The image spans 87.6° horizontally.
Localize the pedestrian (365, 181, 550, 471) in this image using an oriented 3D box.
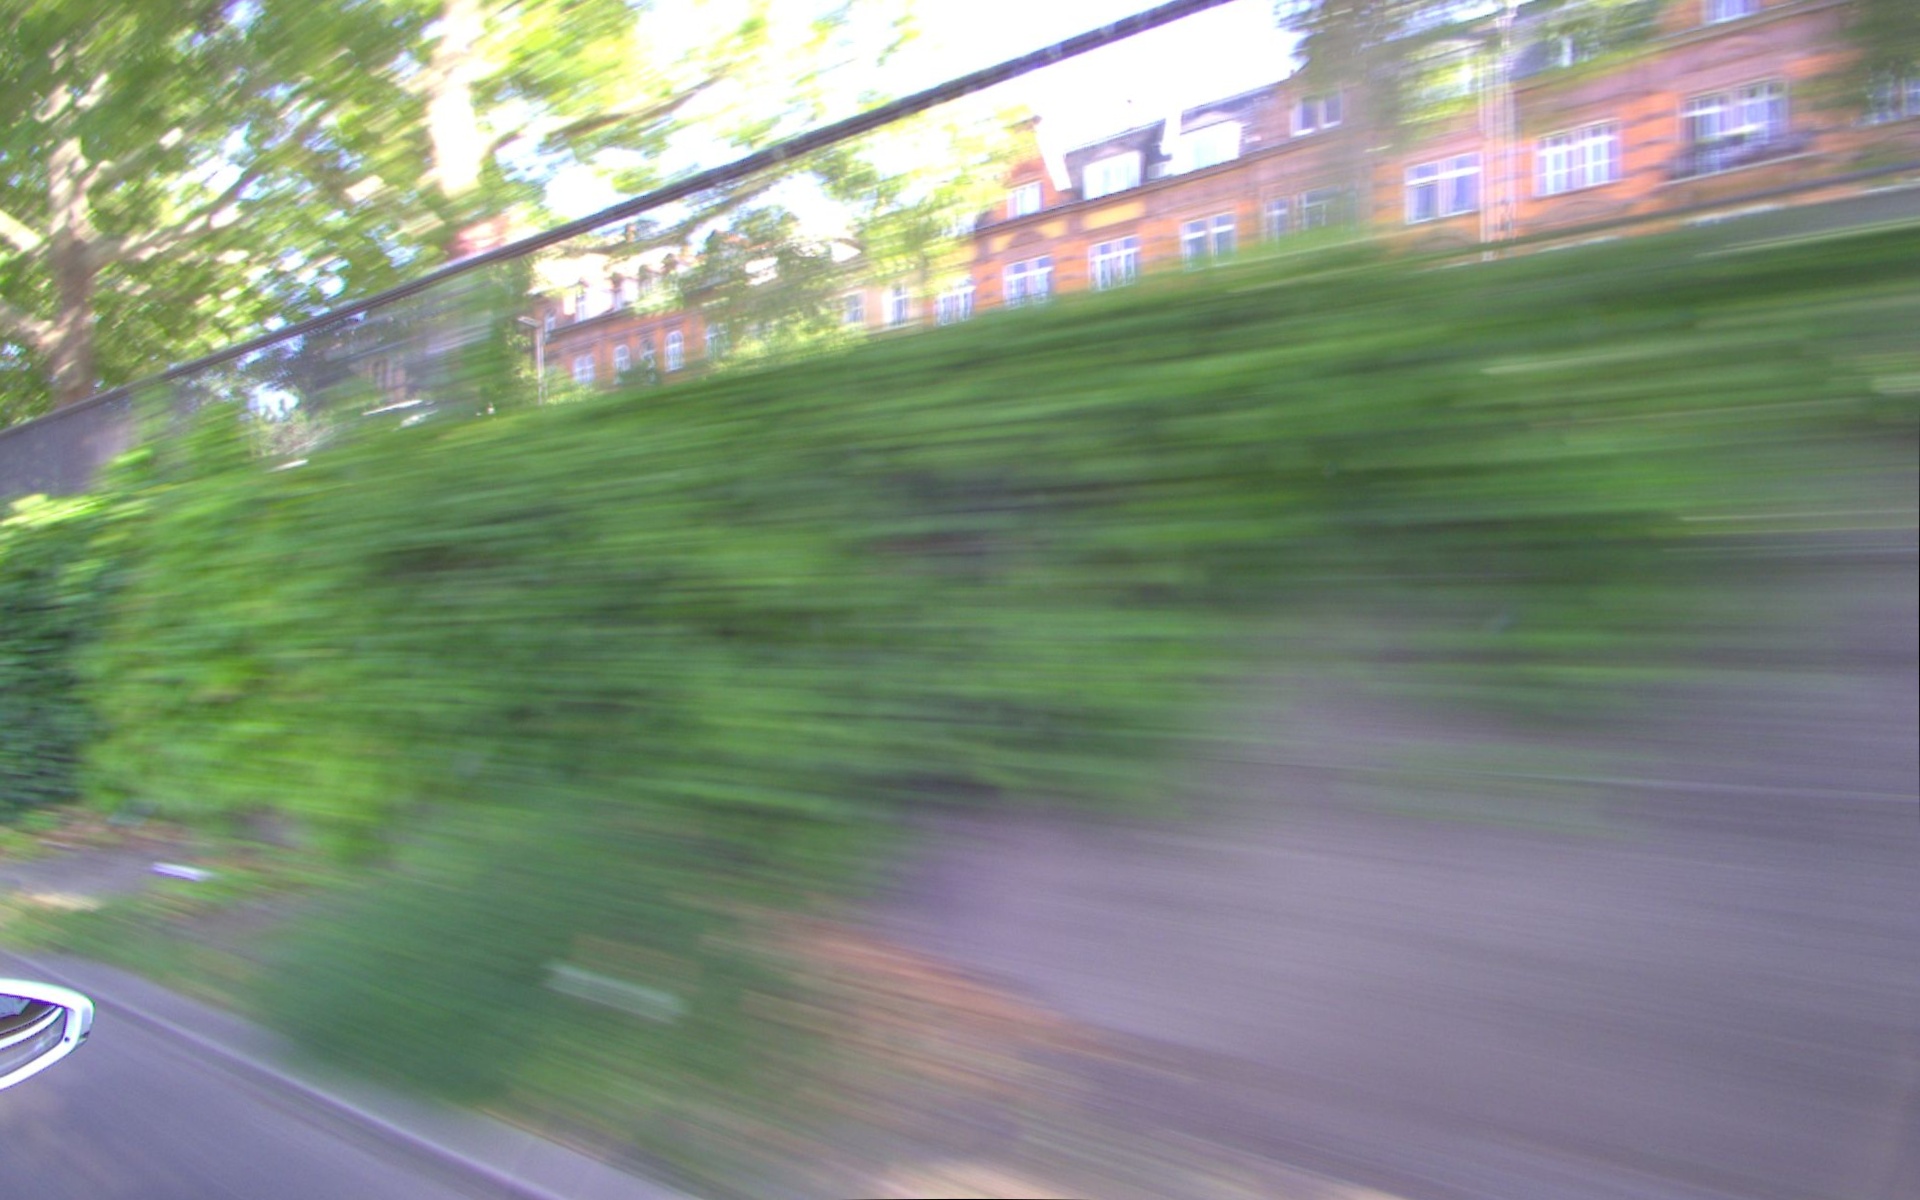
[{"bbox_3d":[-3.299,-1.727,6.601,0.799,1.612,0.735,-1,1,31],"label":"pedestrian"}]
